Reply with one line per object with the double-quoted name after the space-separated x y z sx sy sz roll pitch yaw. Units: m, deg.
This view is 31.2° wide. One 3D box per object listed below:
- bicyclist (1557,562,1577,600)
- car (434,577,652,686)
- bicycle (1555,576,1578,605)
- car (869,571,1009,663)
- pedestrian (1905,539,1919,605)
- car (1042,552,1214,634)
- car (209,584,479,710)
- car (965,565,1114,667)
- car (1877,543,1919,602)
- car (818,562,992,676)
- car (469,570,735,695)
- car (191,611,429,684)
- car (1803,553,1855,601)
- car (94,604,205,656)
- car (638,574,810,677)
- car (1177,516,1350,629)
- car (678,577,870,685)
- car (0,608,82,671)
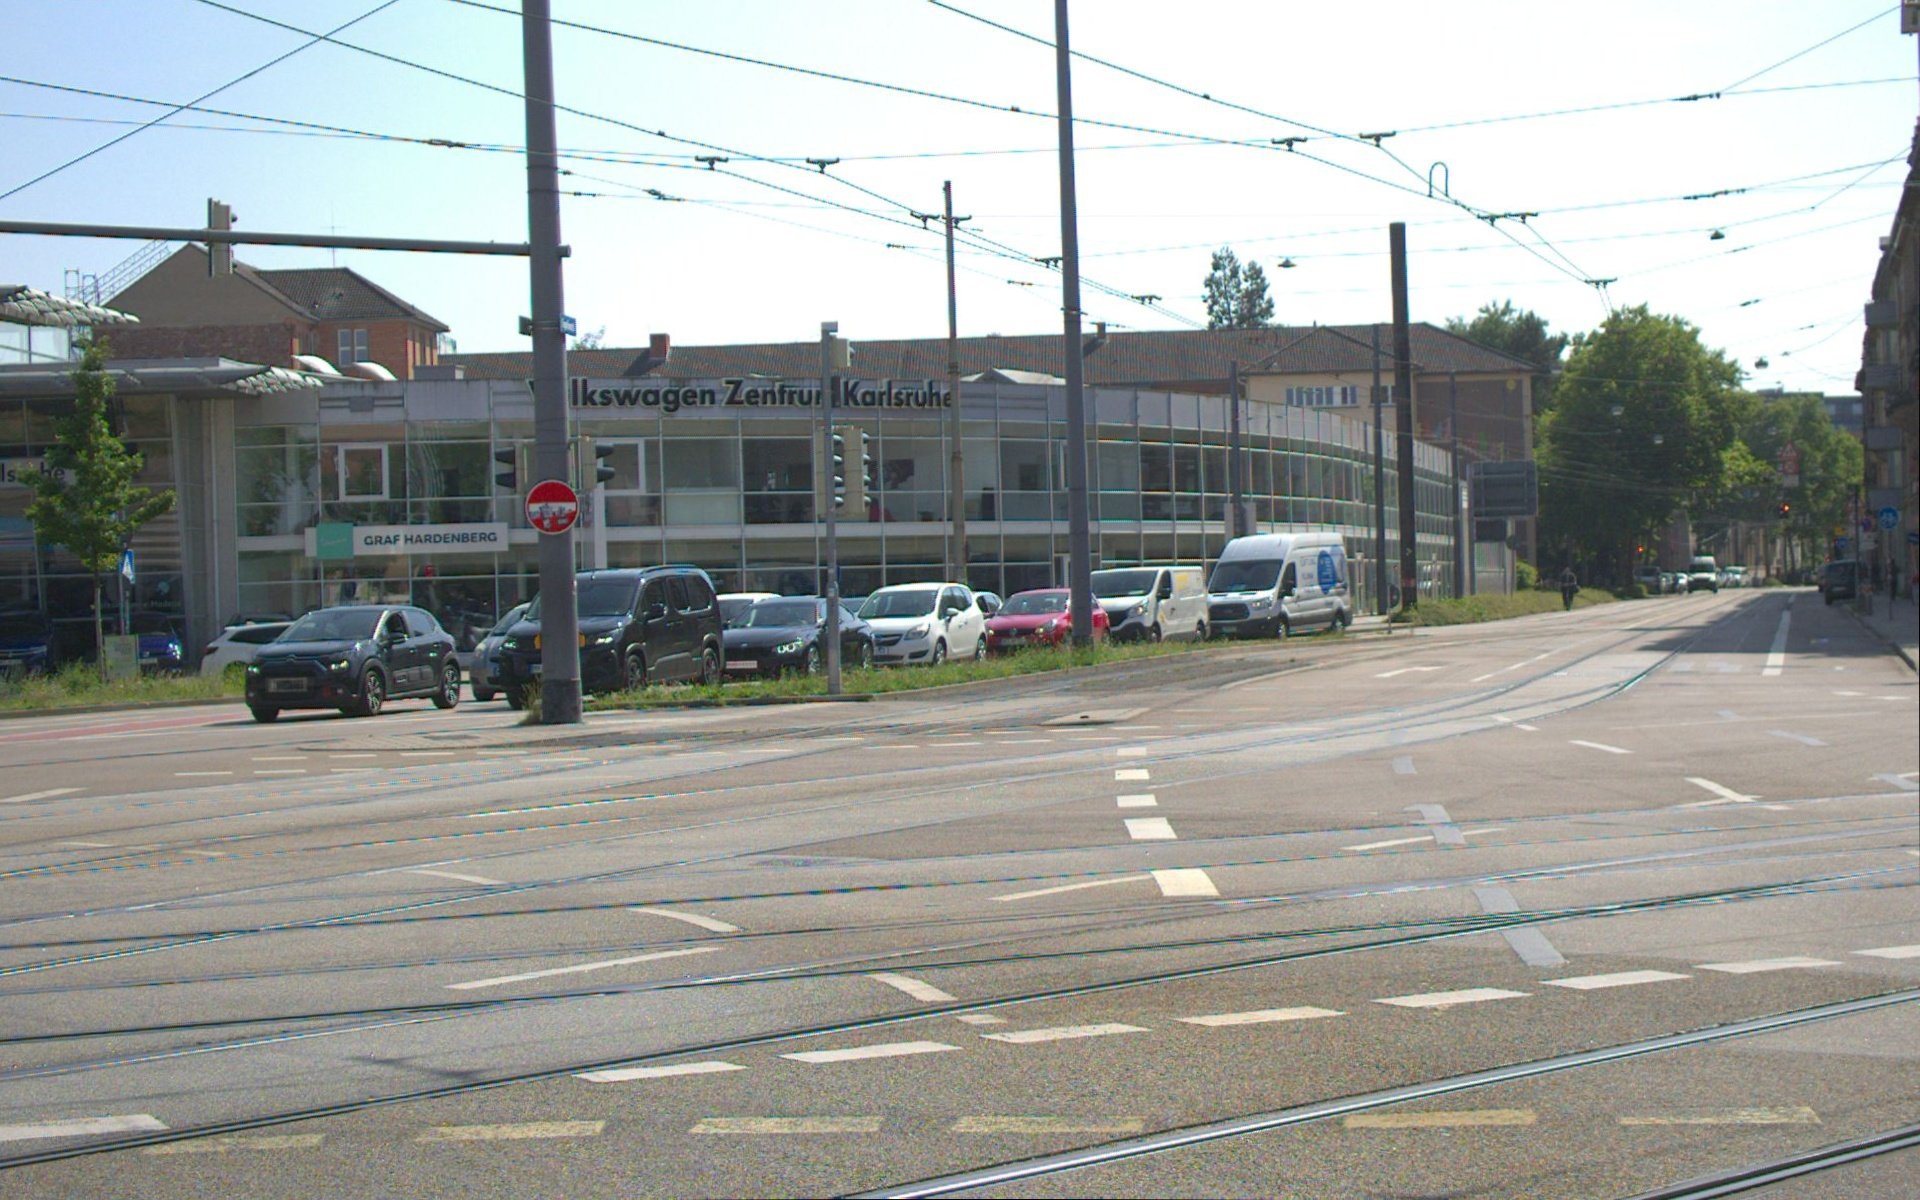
25.099 -0.790 142.196 0.752 1.562 1.086 0 -1 13 "bicyclist"
-6.436 0.494 53.474 1.896 1.582 3.997 -2 -1 17 "car"
25.081 -0.390 142.143 0.752 1.190 2.837 0 -1 13 "bicycle"
-0.404 0.380 72.612 1.808 1.840 4.197 -2 -1 16 "car"
21.214 -0.620 74.953 0.711 1.428 0.886 -2 0 -44 "pedestrian"
3.723 -0.174 75.160 2.187 1.675 5.023 -2 0 22 "car"
-8.297 0.636 46.652 1.893 1.582 4.207 -2 -1 17 "car"
1.605 0.333 68.057 1.896 1.910 4.197 -2 -1 16 "car"
33.354 -0.946 120.687 1.994 2.007 3.998 0 -1 11 "car"
-0.932 0.347 61.146 1.896 1.910 4.197 -2 -1 16 "car"
-4.847 0.408 47.284 1.962 1.582 4.712 -1 0 17 "car"
-13.257 0.961 70.145 4.587 1.431 1.443 0 -1 13 "car"
37.533 -0.992 148.552 2.110 2.007 3.997 0 -1 14 "car"
-19.442 0.719 82.588 1.830 1.191 4.000 1 0 -2 "car"
-4.127 0.460 60.808 1.652 1.733 4.197 -2 -1 16 "car"
7.318 -0.613 82.241 2.211 2.567 5.866 0 -1 25 "car"
-2.870 0.490 53.843 1.895 1.582 3.997 -2 -1 14 "car"
-22.638 0.927 82.960 1.993 1.481 4.000 1 0 -2 "car"
